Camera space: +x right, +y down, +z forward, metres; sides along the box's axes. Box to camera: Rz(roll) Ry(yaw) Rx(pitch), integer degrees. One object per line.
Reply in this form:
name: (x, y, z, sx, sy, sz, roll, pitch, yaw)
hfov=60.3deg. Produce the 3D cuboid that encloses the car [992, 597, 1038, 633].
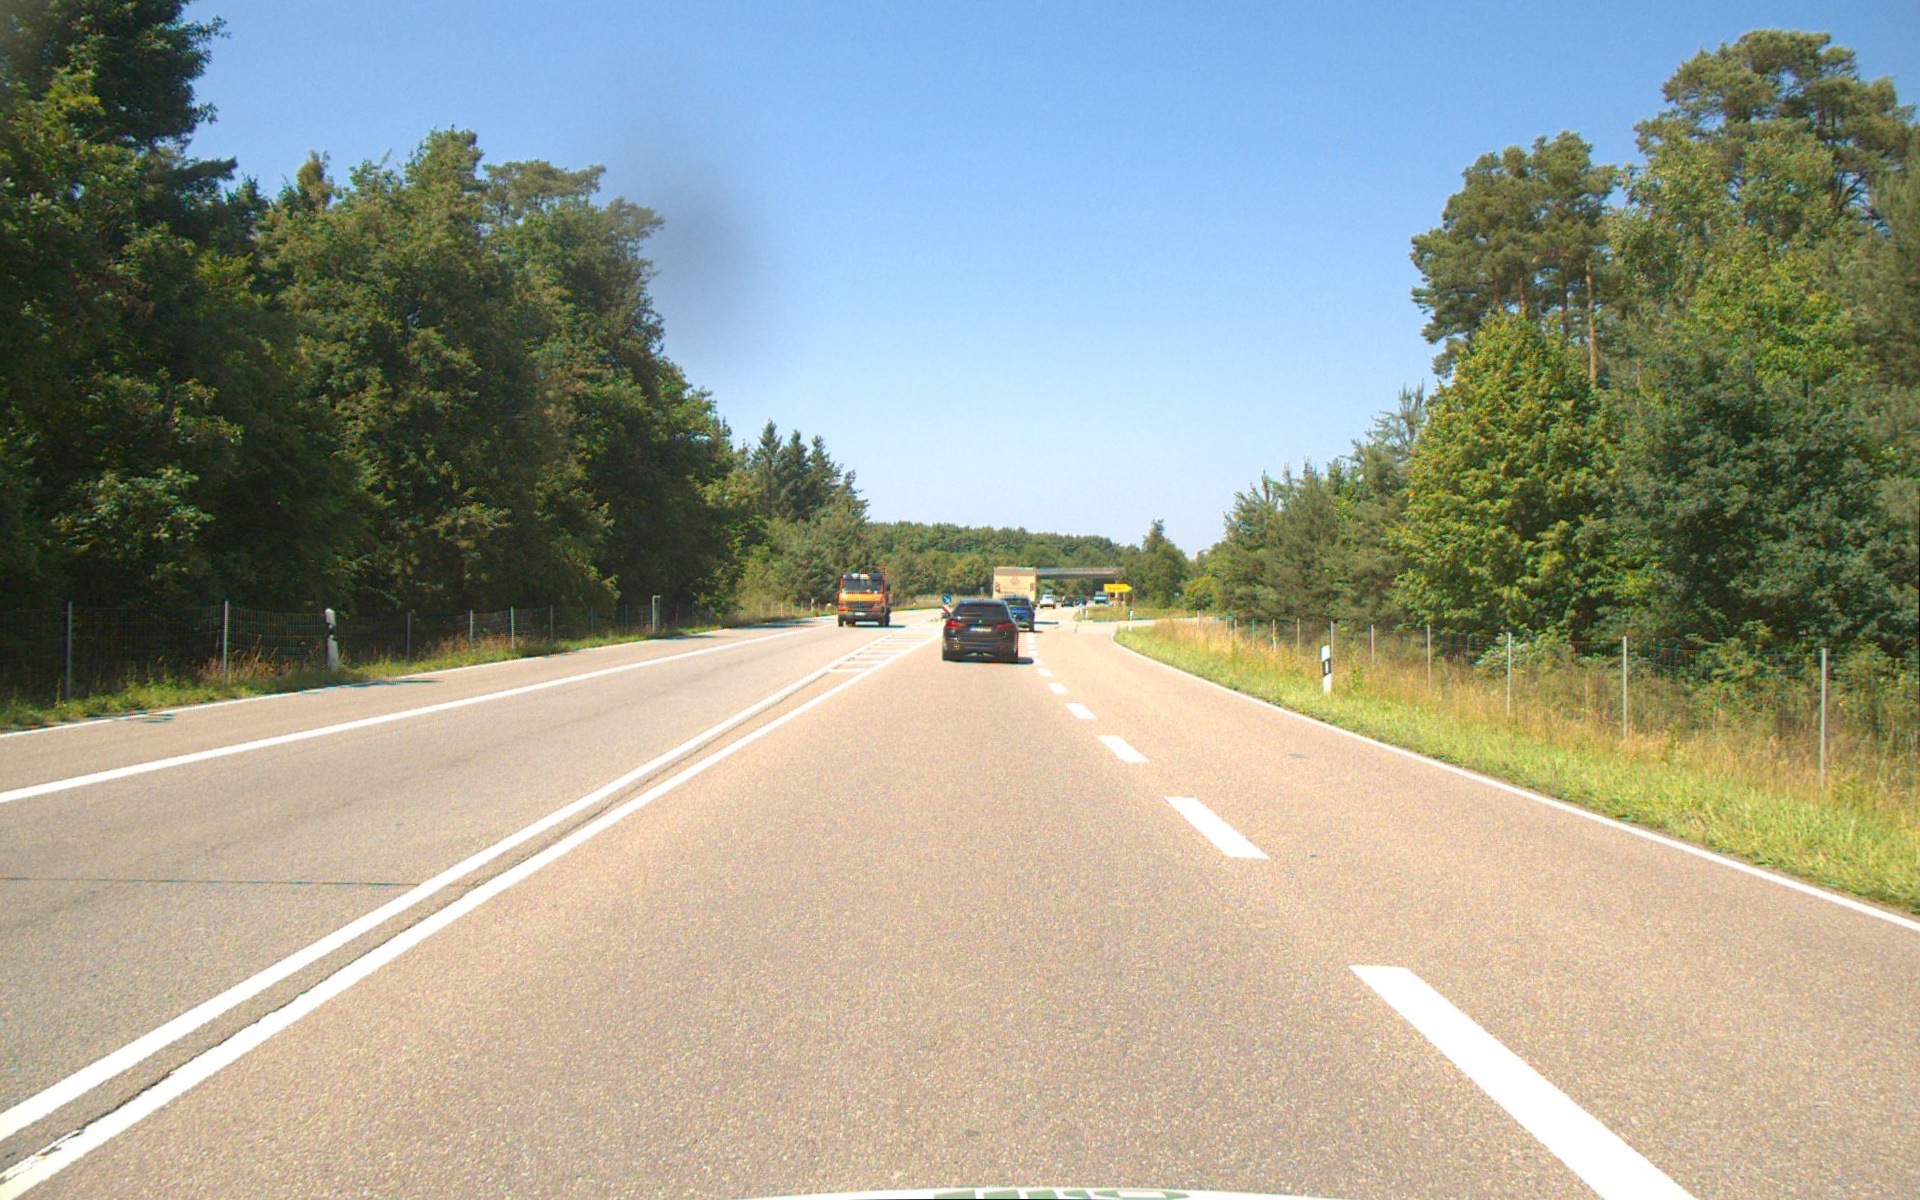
car: (2.484, 0.675, 75.416, 1.908, 1.568, 3.999, 0, 0, -1)

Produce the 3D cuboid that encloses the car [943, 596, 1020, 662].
car: (0.476, 0.664, 40.435, 1.783, 1.496, 4.000, 1, 0, -1)

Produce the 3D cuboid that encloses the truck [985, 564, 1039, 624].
truck: (3.075, -0.389, 99.597, 2.905, 3.447, 6.437, 1, 0, -1)

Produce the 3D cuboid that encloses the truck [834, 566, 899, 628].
truck: (-4.357, -0.136, 78.154, 2.348, 2.770, 6.553, 1, 0, 2)

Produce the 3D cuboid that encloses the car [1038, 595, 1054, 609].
car: (10.815, 0.240, 207.842, 1.825, 1.633, 4.000, 1, 0, 0)

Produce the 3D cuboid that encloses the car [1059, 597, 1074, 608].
car: (15.455, 0.345, 240.211, 1.952, 1.445, 4.002, 2, 0, 3)
